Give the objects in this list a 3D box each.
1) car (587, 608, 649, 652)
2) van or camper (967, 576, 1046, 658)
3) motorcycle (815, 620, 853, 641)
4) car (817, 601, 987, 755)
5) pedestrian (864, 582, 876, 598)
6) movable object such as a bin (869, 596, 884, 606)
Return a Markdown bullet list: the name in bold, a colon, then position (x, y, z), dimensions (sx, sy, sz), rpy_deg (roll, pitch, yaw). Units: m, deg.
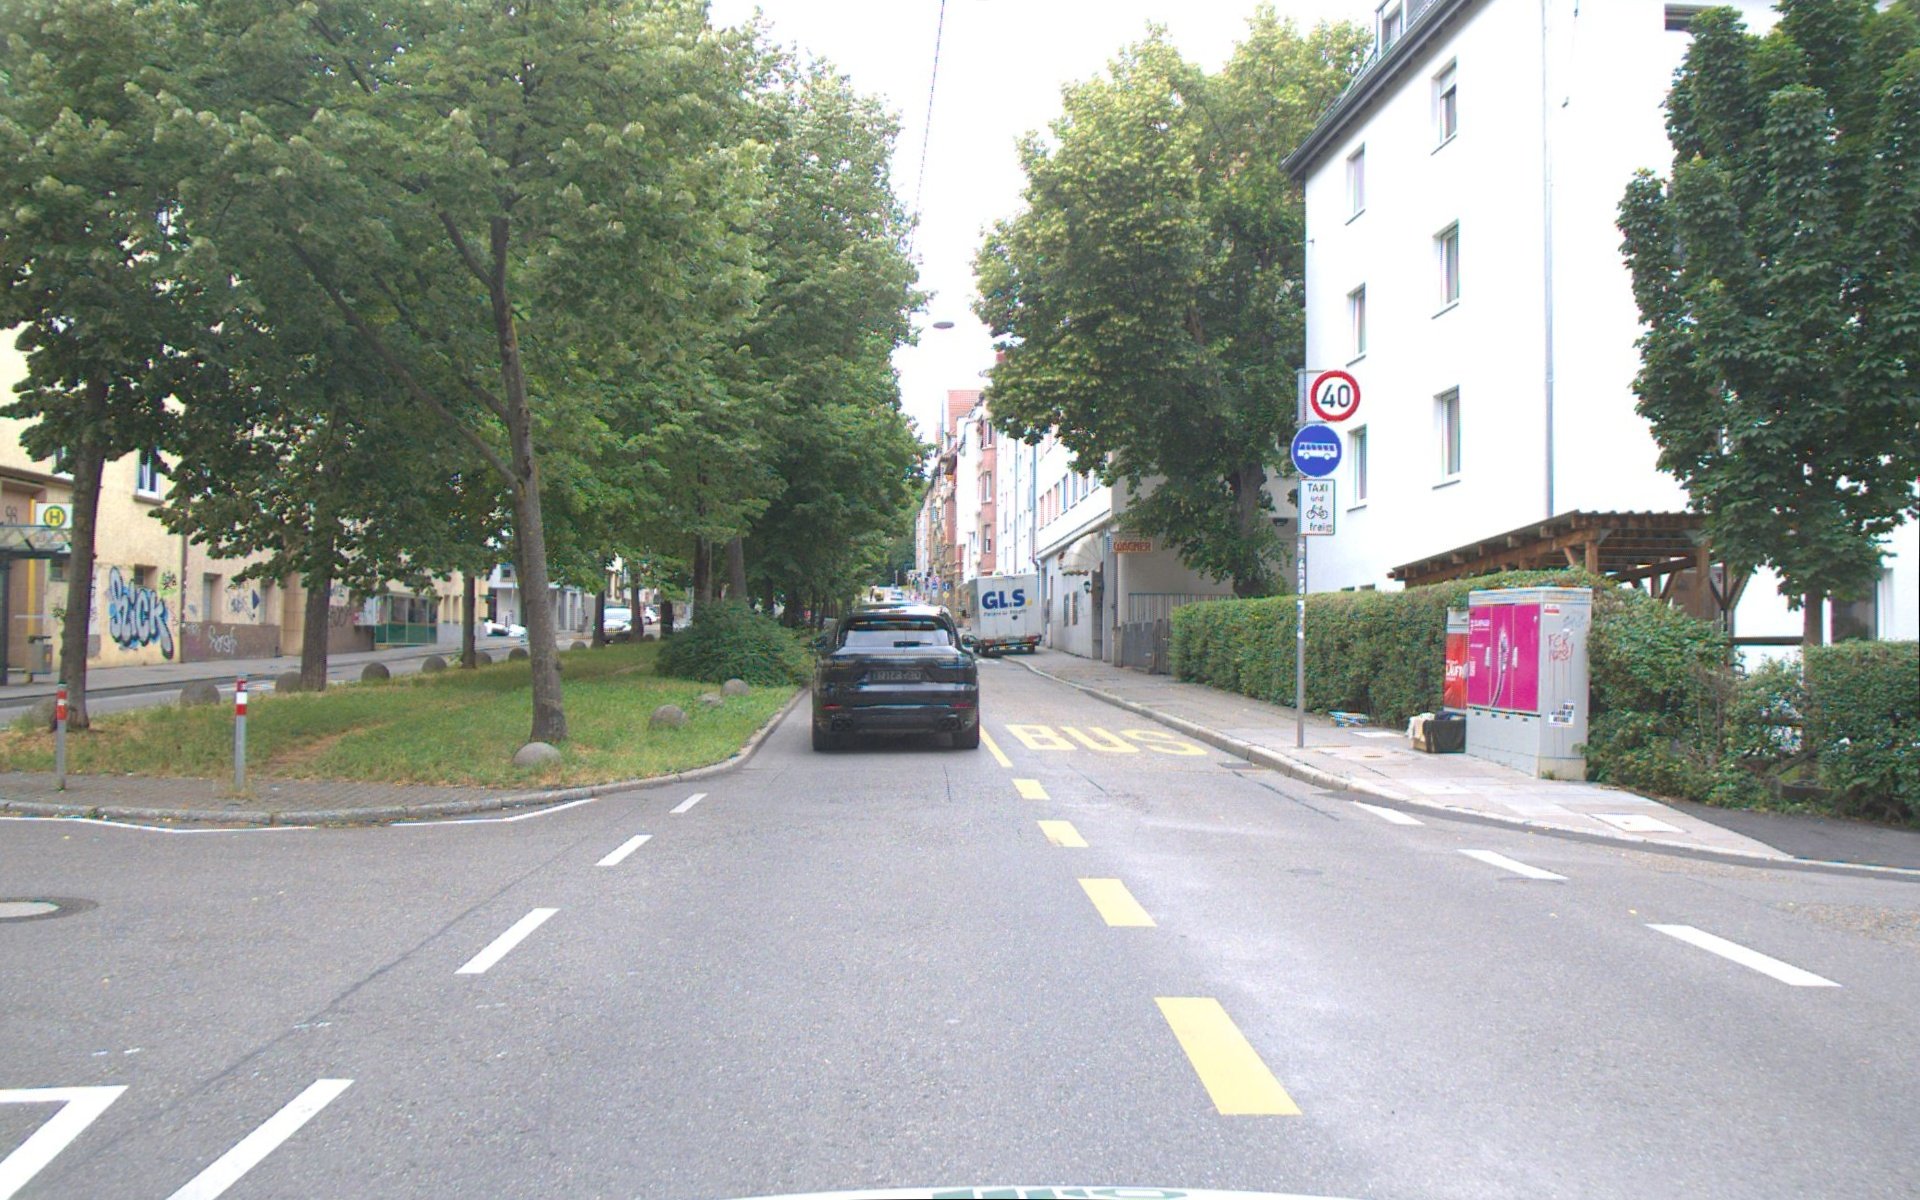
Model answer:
- **car**: position (-15.201, 1.332, 73.763), dimensions (1.912, 1.656, 4.361), rpy_deg (-7, 0, -4)
- **van or camper**: position (1.629, 0.578, 61.194), dimensions (2.430, 2.852, 7.235), rpy_deg (0, 0, -2)
- **motorcycle**: position (-7.716, 1.855, 101.109), dimensions (2.309, 1.257, 1.033), rpy_deg (0, 1, -4)
- **car**: position (-0.786, 0.882, 20.277), dimensions (1.866, 1.695, 4.131), rpy_deg (0, -1, -4)
- **pedestrian**: position (-11.747, -1.297, 215.432), dimensions (1.291, 2.049, 1.007), rpy_deg (1, -1, -36)
- **movable object such as a bin**: position (-10.838, 0.112, 214.278), dimensions (1.228, 1.296, 1.822), rpy_deg (1, -1, -37)
